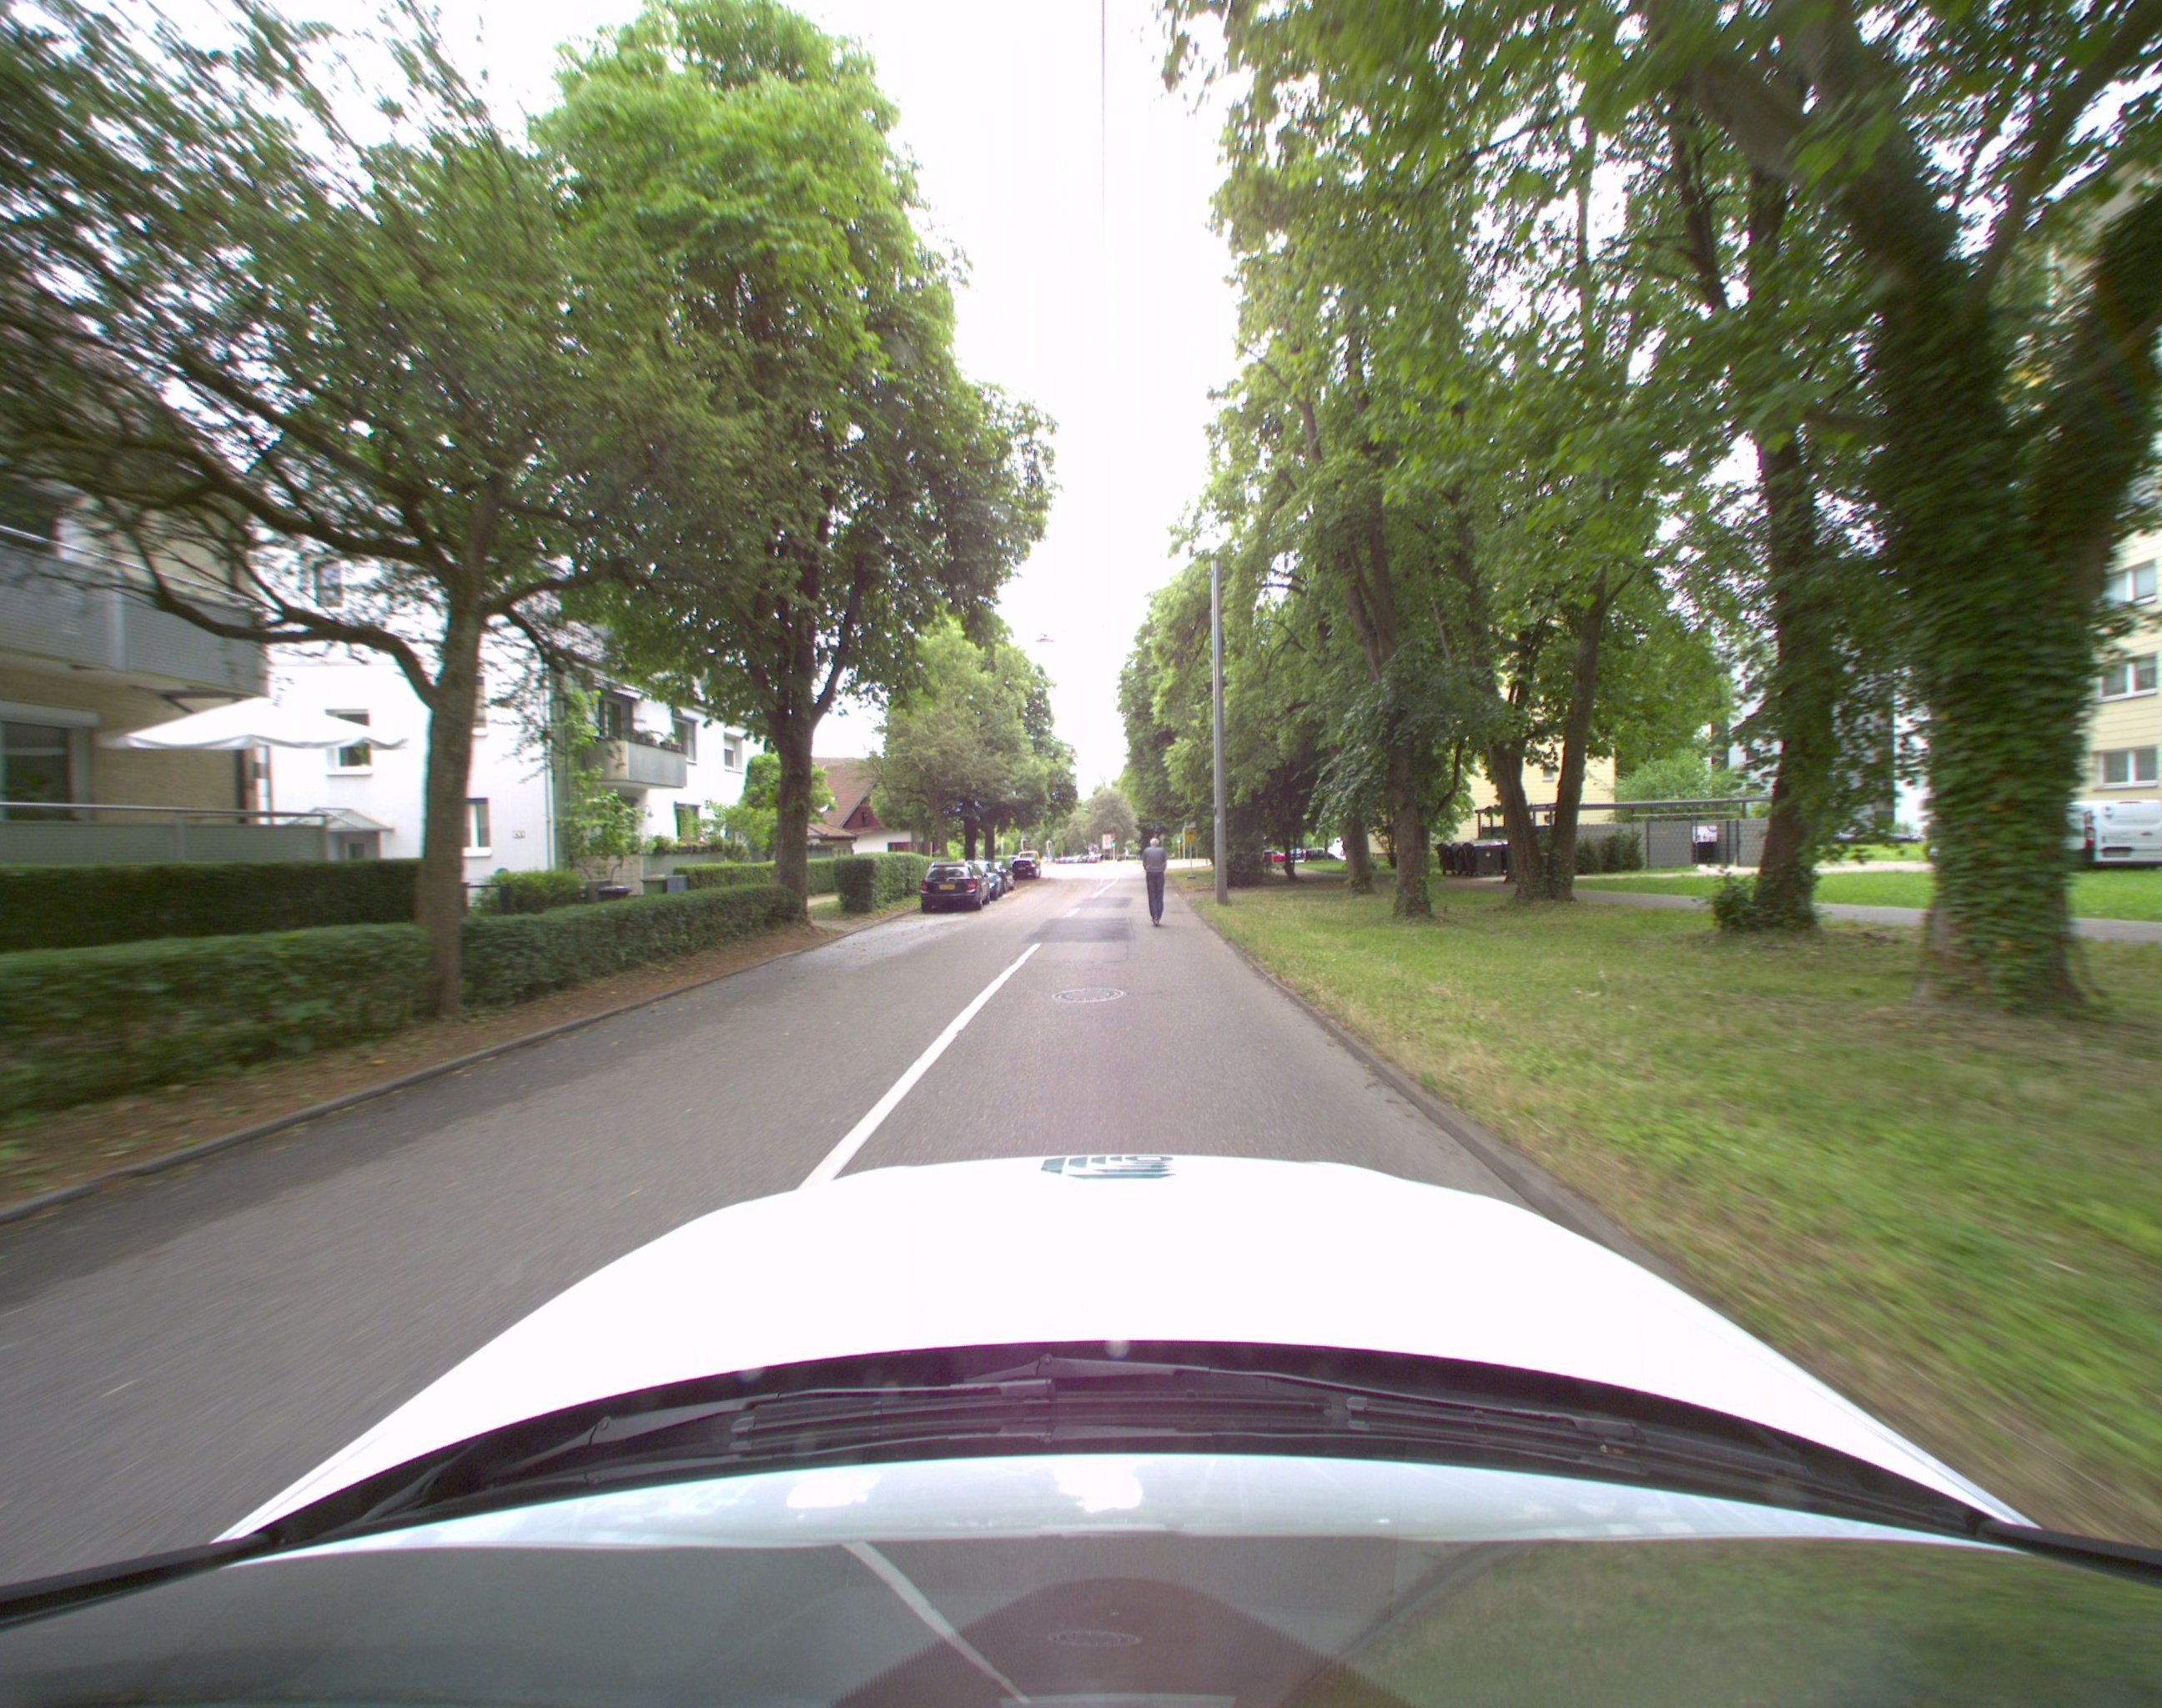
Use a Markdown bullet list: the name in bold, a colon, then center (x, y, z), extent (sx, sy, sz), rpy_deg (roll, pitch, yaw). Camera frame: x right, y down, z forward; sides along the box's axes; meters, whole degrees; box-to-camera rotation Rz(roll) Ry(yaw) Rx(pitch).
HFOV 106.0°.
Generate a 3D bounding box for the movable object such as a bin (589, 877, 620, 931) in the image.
- **movable object such as a bin**: center (-9.879, 1.030, 16.889), extent (0.380, 1.089, 0.405), rpy_deg (-2, -1, -5)

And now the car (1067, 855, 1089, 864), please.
- **car**: center (-0.532, 0.939, 149.752), extent (3.977, 1.510, 1.798), rpy_deg (-2, 0, -3)

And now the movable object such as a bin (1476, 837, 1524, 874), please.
- **movable object such as a bin**: center (18.061, 0.073, 35.179), extent (1.323, 1.501, 1.313), rpy_deg (-3, 0, -2)

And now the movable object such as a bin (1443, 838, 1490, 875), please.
- **movable object such as a bin**: center (16.593, 0.126, 35.127), extent (1.323, 1.501, 1.313), rpy_deg (-3, 0, -2)

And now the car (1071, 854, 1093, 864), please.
- **car**: center (0.181, 0.906, 147.856), extent (3.977, 1.510, 1.798), rpy_deg (-2, 0, -3)

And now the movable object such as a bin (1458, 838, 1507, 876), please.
- **movable object such as a bin**: center (16.617, 0.127, 33.763), extent (1.323, 1.501, 1.313), rpy_deg (-3, 0, -2)

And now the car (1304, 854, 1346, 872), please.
- **car**: center (25.230, 0.914, 84.255), extent (3.950, 1.726, 1.811), rpy_deg (0, 3, 25)

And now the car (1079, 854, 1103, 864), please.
- **car**: center (1.687, 0.796, 137.141), extent (3.977, 1.510, 1.798), rpy_deg (-2, 0, -3)

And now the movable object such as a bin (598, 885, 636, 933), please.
- **movable object such as a bin**: center (-9.357, 1.095, 16.428), extent (0.455, 0.915, 0.507), rpy_deg (-2, -1, -6)

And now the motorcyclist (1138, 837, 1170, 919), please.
- **motorcyclist**: center (1.586, 0.524, 17.792), extent (0.670, 1.761, 0.639), rpy_deg (0, -1, 1)

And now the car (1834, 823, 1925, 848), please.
- **car**: center (55.270, -1.251, 56.486), extent (4.280, 1.510, 1.811), rpy_deg (-2, -1, 38)

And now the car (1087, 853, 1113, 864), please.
- **car**: center (3.054, 0.702, 130.305), extent (3.977, 1.510, 1.798), rpy_deg (-2, 0, -3)

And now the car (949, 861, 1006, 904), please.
- **car**: center (-3.742, 0.988, 29.934), extent (1.660, 1.391, 3.704), rpy_deg (-2, 0, -2)

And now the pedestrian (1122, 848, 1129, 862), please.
- **pedestrian**: center (5.657, 0.118, 104.137), extent (0.726, 1.762, 0.665), rpy_deg (-2, -1, 20)

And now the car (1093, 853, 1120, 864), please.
- **car**: center (3.843, 0.648, 123.171), extent (3.977, 1.510, 1.798), rpy_deg (-2, 0, -3)

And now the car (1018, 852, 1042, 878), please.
- **car**: center (-4.247, 0.912, 66.929), extent (1.854, 1.964, 4.496), rpy_deg (-2, -1, -5)

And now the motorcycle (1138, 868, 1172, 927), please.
- **motorcycle**: center (1.585, 0.924, 17.655), extent (0.670, 1.217, 1.274), rpy_deg (0, 0, 2)

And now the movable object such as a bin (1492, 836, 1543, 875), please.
- **movable object such as a bin**: center (18.081, 0.068, 33.779), extent (1.323, 1.501, 1.313), rpy_deg (-3, 0, -2)

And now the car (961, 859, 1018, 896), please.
- **car**: center (-3.915, 0.975, 35.659), extent (1.787, 1.410, 4.646), rpy_deg (-2, 0, 1)

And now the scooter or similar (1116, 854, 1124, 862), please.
- **scooter or similar**: center (5.005, 0.493, 104.458), extent (0.704, 1.049, 0.791), rpy_deg (-2, -1, 20)

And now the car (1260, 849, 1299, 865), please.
- **car**: center (20.878, 0.300, 85.789), extent (3.959, 1.557, 1.807), rpy_deg (0, 3, 13)

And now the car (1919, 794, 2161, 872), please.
- **car**: center (26.258, -0.581, 22.270), extent (2.074, 1.842, 4.980), rpy_deg (-3, 1, 9)

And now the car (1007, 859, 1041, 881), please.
- **car**: center (-3.855, 1.082, 55.861), extent (1.885, 1.410, 4.554), rpy_deg (-2, -1, 1)

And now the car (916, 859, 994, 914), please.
- **car**: center (-3.792, 0.928, 25.172), extent (1.789, 1.472, 4.415), rpy_deg (-2, 0, -2)

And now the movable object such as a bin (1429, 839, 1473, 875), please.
- **movable object such as a bin**: center (16.559, 0.142, 36.482), extent (1.323, 1.501, 1.313), rpy_deg (-3, 0, -2)
